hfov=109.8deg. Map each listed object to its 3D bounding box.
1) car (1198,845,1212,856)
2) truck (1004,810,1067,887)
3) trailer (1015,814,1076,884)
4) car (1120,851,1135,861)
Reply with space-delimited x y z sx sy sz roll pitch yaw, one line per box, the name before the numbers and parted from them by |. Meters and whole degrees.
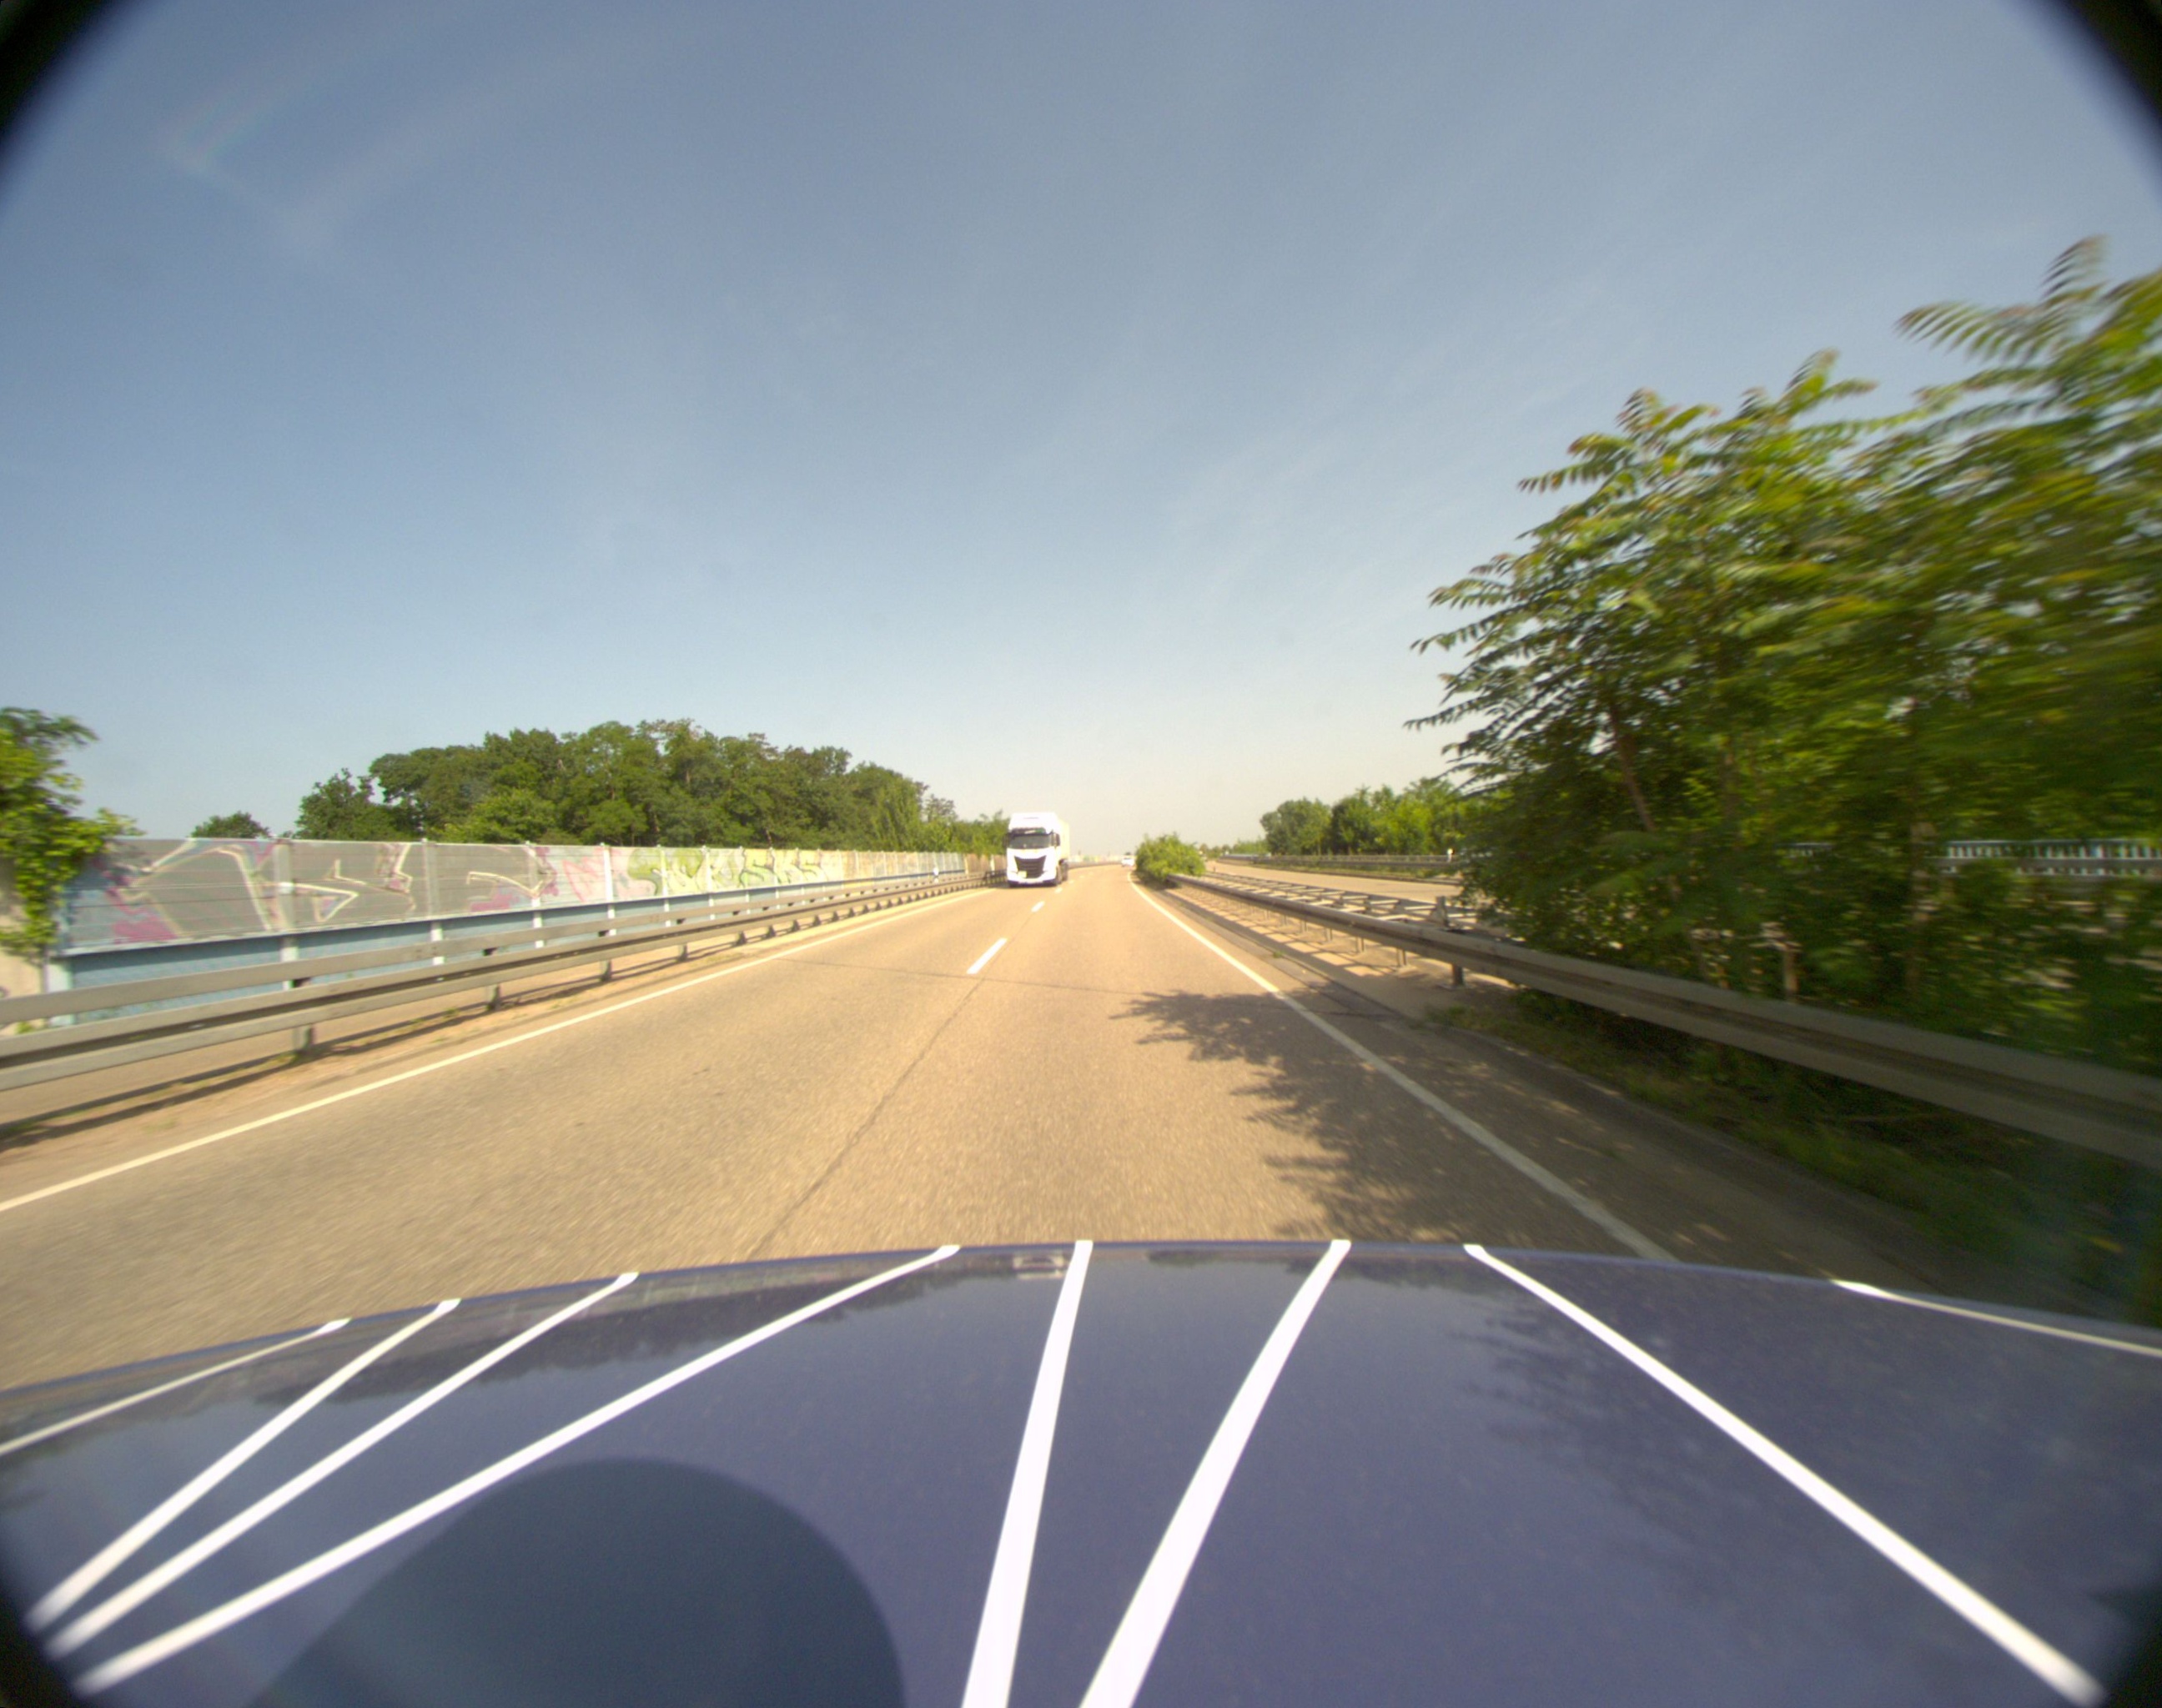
car | 24.014 -0.658 147.184 2.126 2.002 6.391 -3 0 6
truck | -2.396 -0.280 42.092 2.665 3.873 5.649 -2 0 3
trailer | -2.038 -0.244 48.124 2.685 3.884 9.675 -2 0 3
car | 6.952 0.303 112.689 1.788 1.427 4.003 -3 0 8
